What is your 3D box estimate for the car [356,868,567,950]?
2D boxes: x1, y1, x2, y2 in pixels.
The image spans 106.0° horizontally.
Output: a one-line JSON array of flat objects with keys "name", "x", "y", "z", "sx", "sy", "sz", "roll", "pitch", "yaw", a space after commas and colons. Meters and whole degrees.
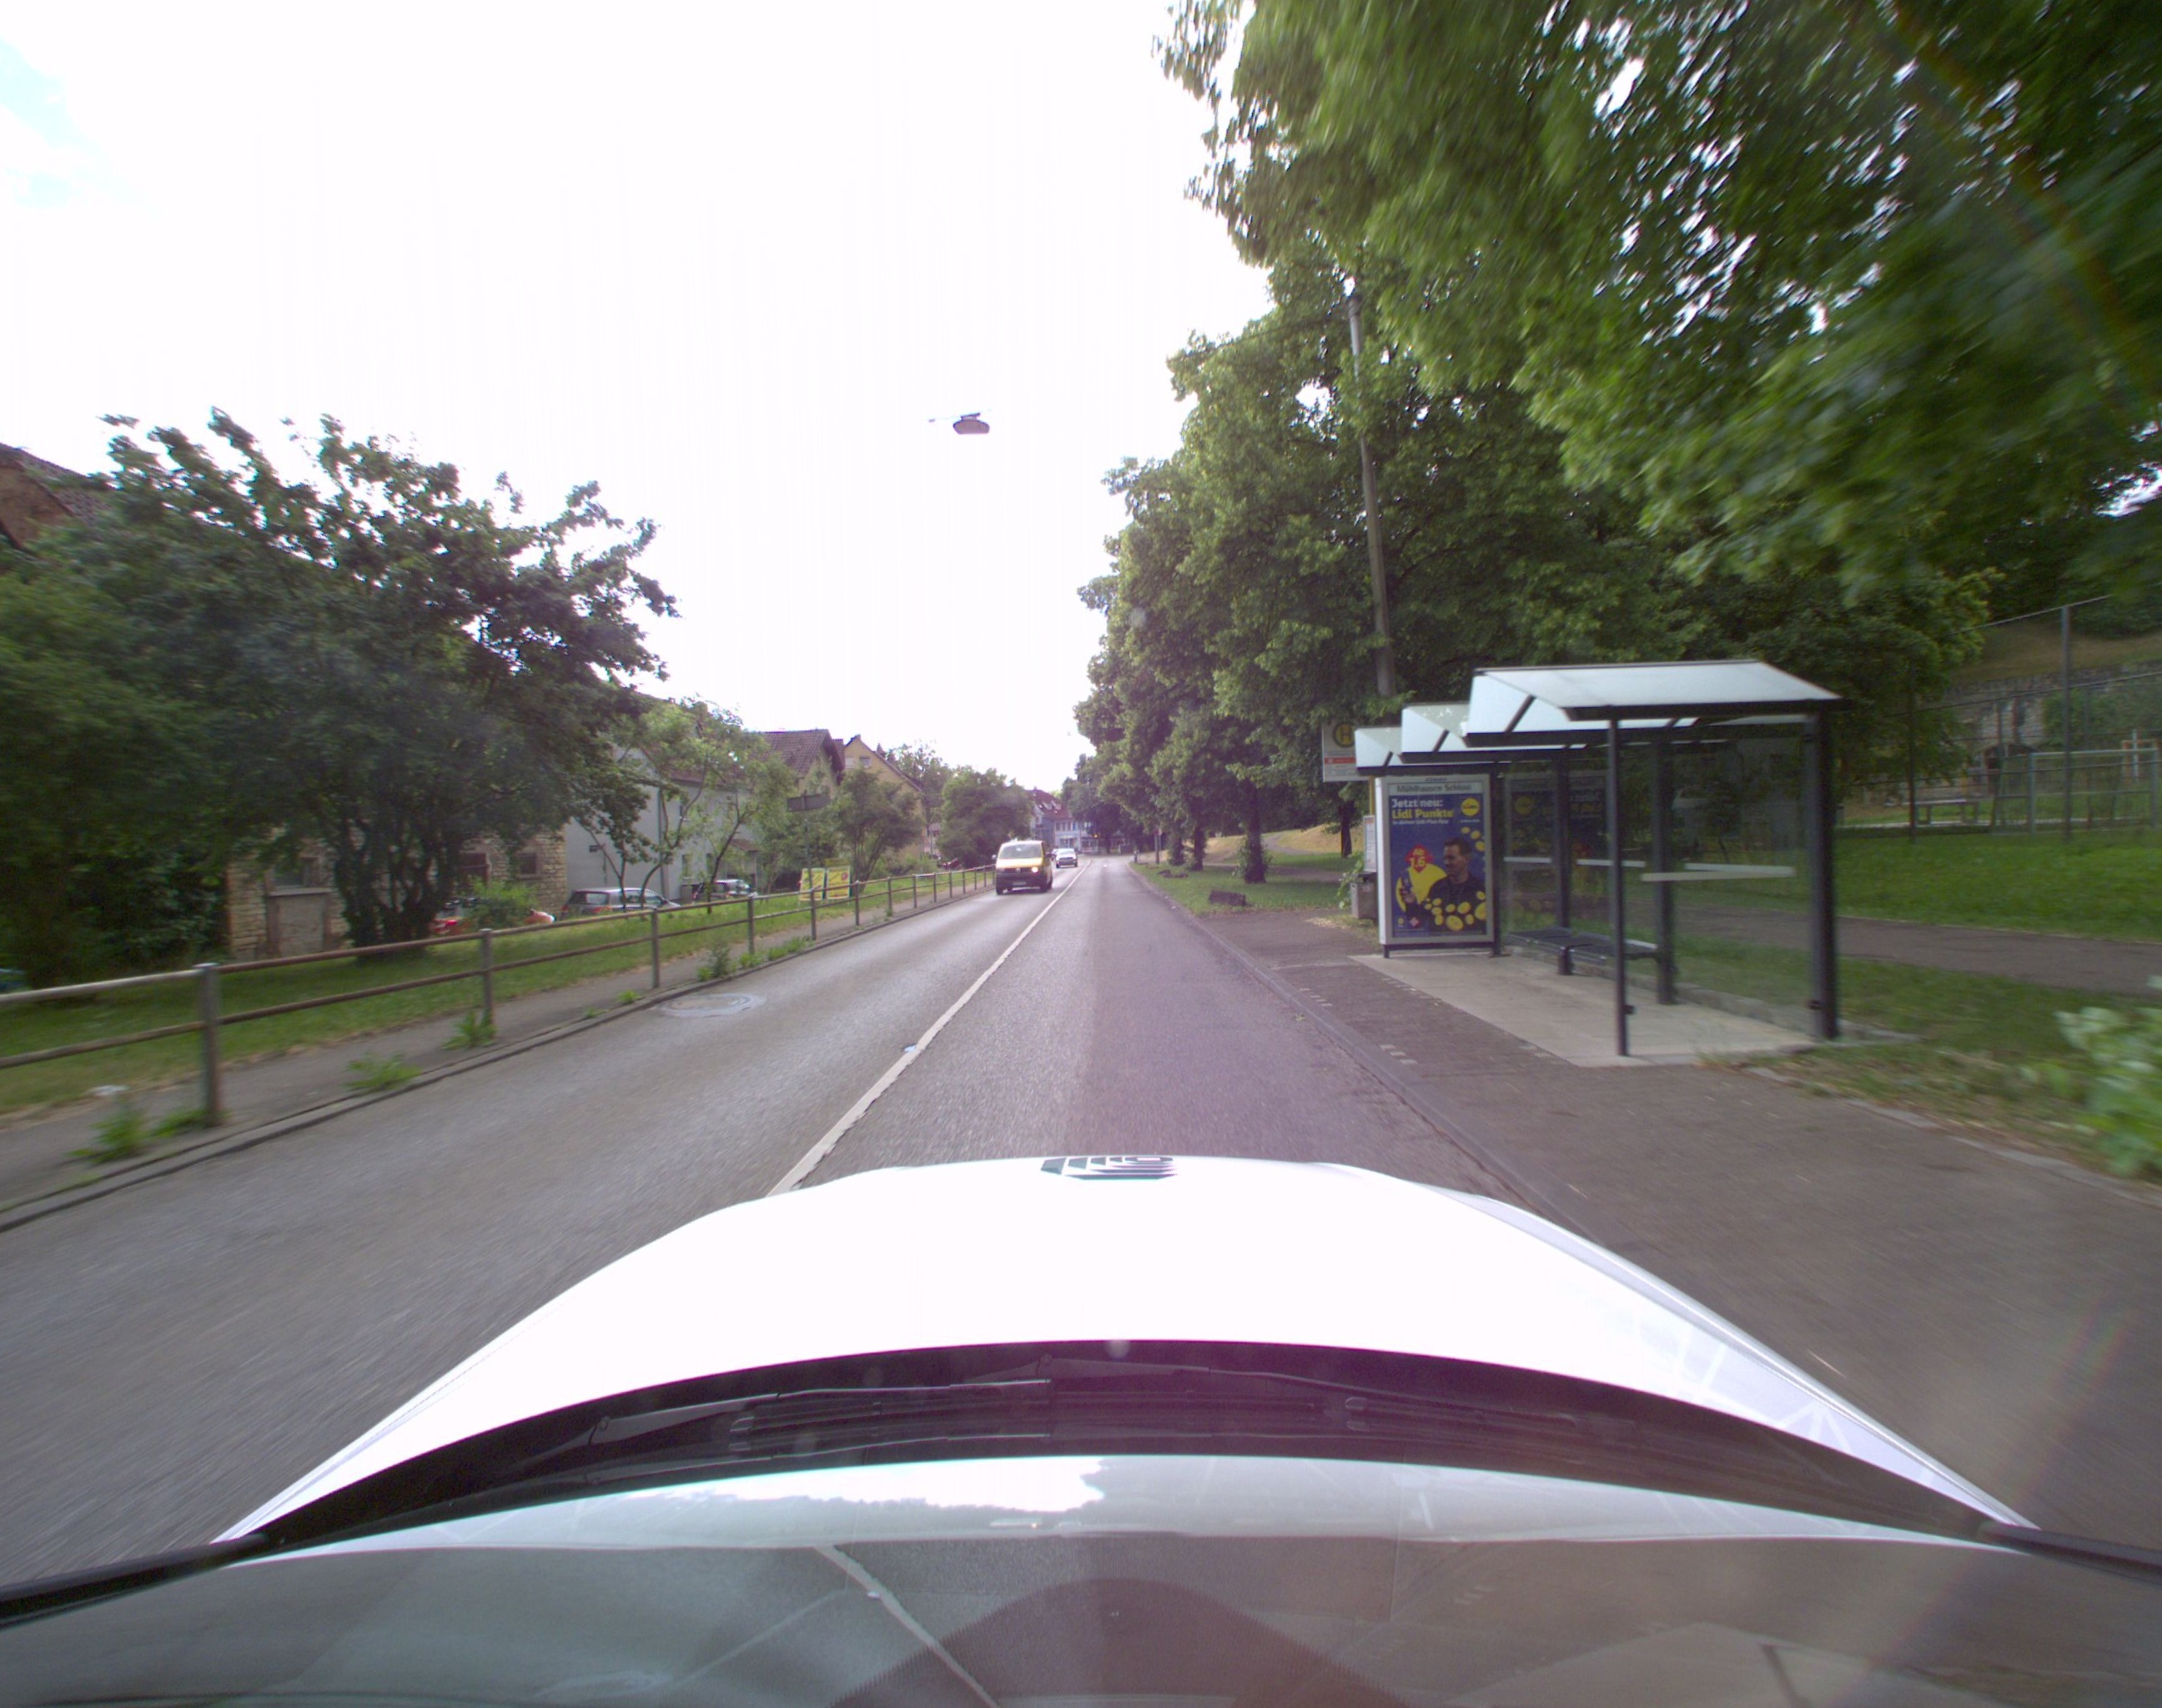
[{"name": "car", "x": -14.912, "y": 1.253, "z": 19.931, "sx": 1.803, "sy": 1.618, "sz": 4.005, "roll": -4, "pitch": 0, "yaw": 4}]

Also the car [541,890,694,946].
[{"name": "car", "x": -14.025, "y": 1.888, "z": 24.940, "sx": 1.983, "sy": 1.277, "sz": 4.009, "roll": -3, "pitch": 0, "yaw": 7}]

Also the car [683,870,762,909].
[{"name": "car", "x": -13.572, "y": 1.326, "z": 30.942, "sx": 1.544, "sy": 1.278, "sz": 2.559, "roll": -3, "pitch": 0, "yaw": 7}]

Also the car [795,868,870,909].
[{"name": "car", "x": -12.038, "y": 1.650, "z": 39.800, "sx": 1.910, "sy": 1.695, "sz": 4.009, "roll": -3, "pitch": 0, "yaw": 7}]

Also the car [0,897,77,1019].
[{"name": "car", "x": -15.720, "y": 1.502, "z": 9.910, "sx": 1.803, "sy": 1.618, "sz": 4.005, "roll": -4, "pitch": 0, "yaw": 4}]

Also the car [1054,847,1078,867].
[{"name": "car", "x": -1.245, "y": 0.251, "z": 68.295, "sx": 1.698, "sy": 1.511, "sz": 4.002, "roll": -4, "pitch": 0, "yaw": 2}]

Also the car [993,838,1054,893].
[{"name": "car", "x": -2.151, "y": 0.420, "z": 31.658, "sx": 1.839, "sy": 1.930, "sz": 4.771, "roll": -2, "pitch": 0, "yaw": 2}]
